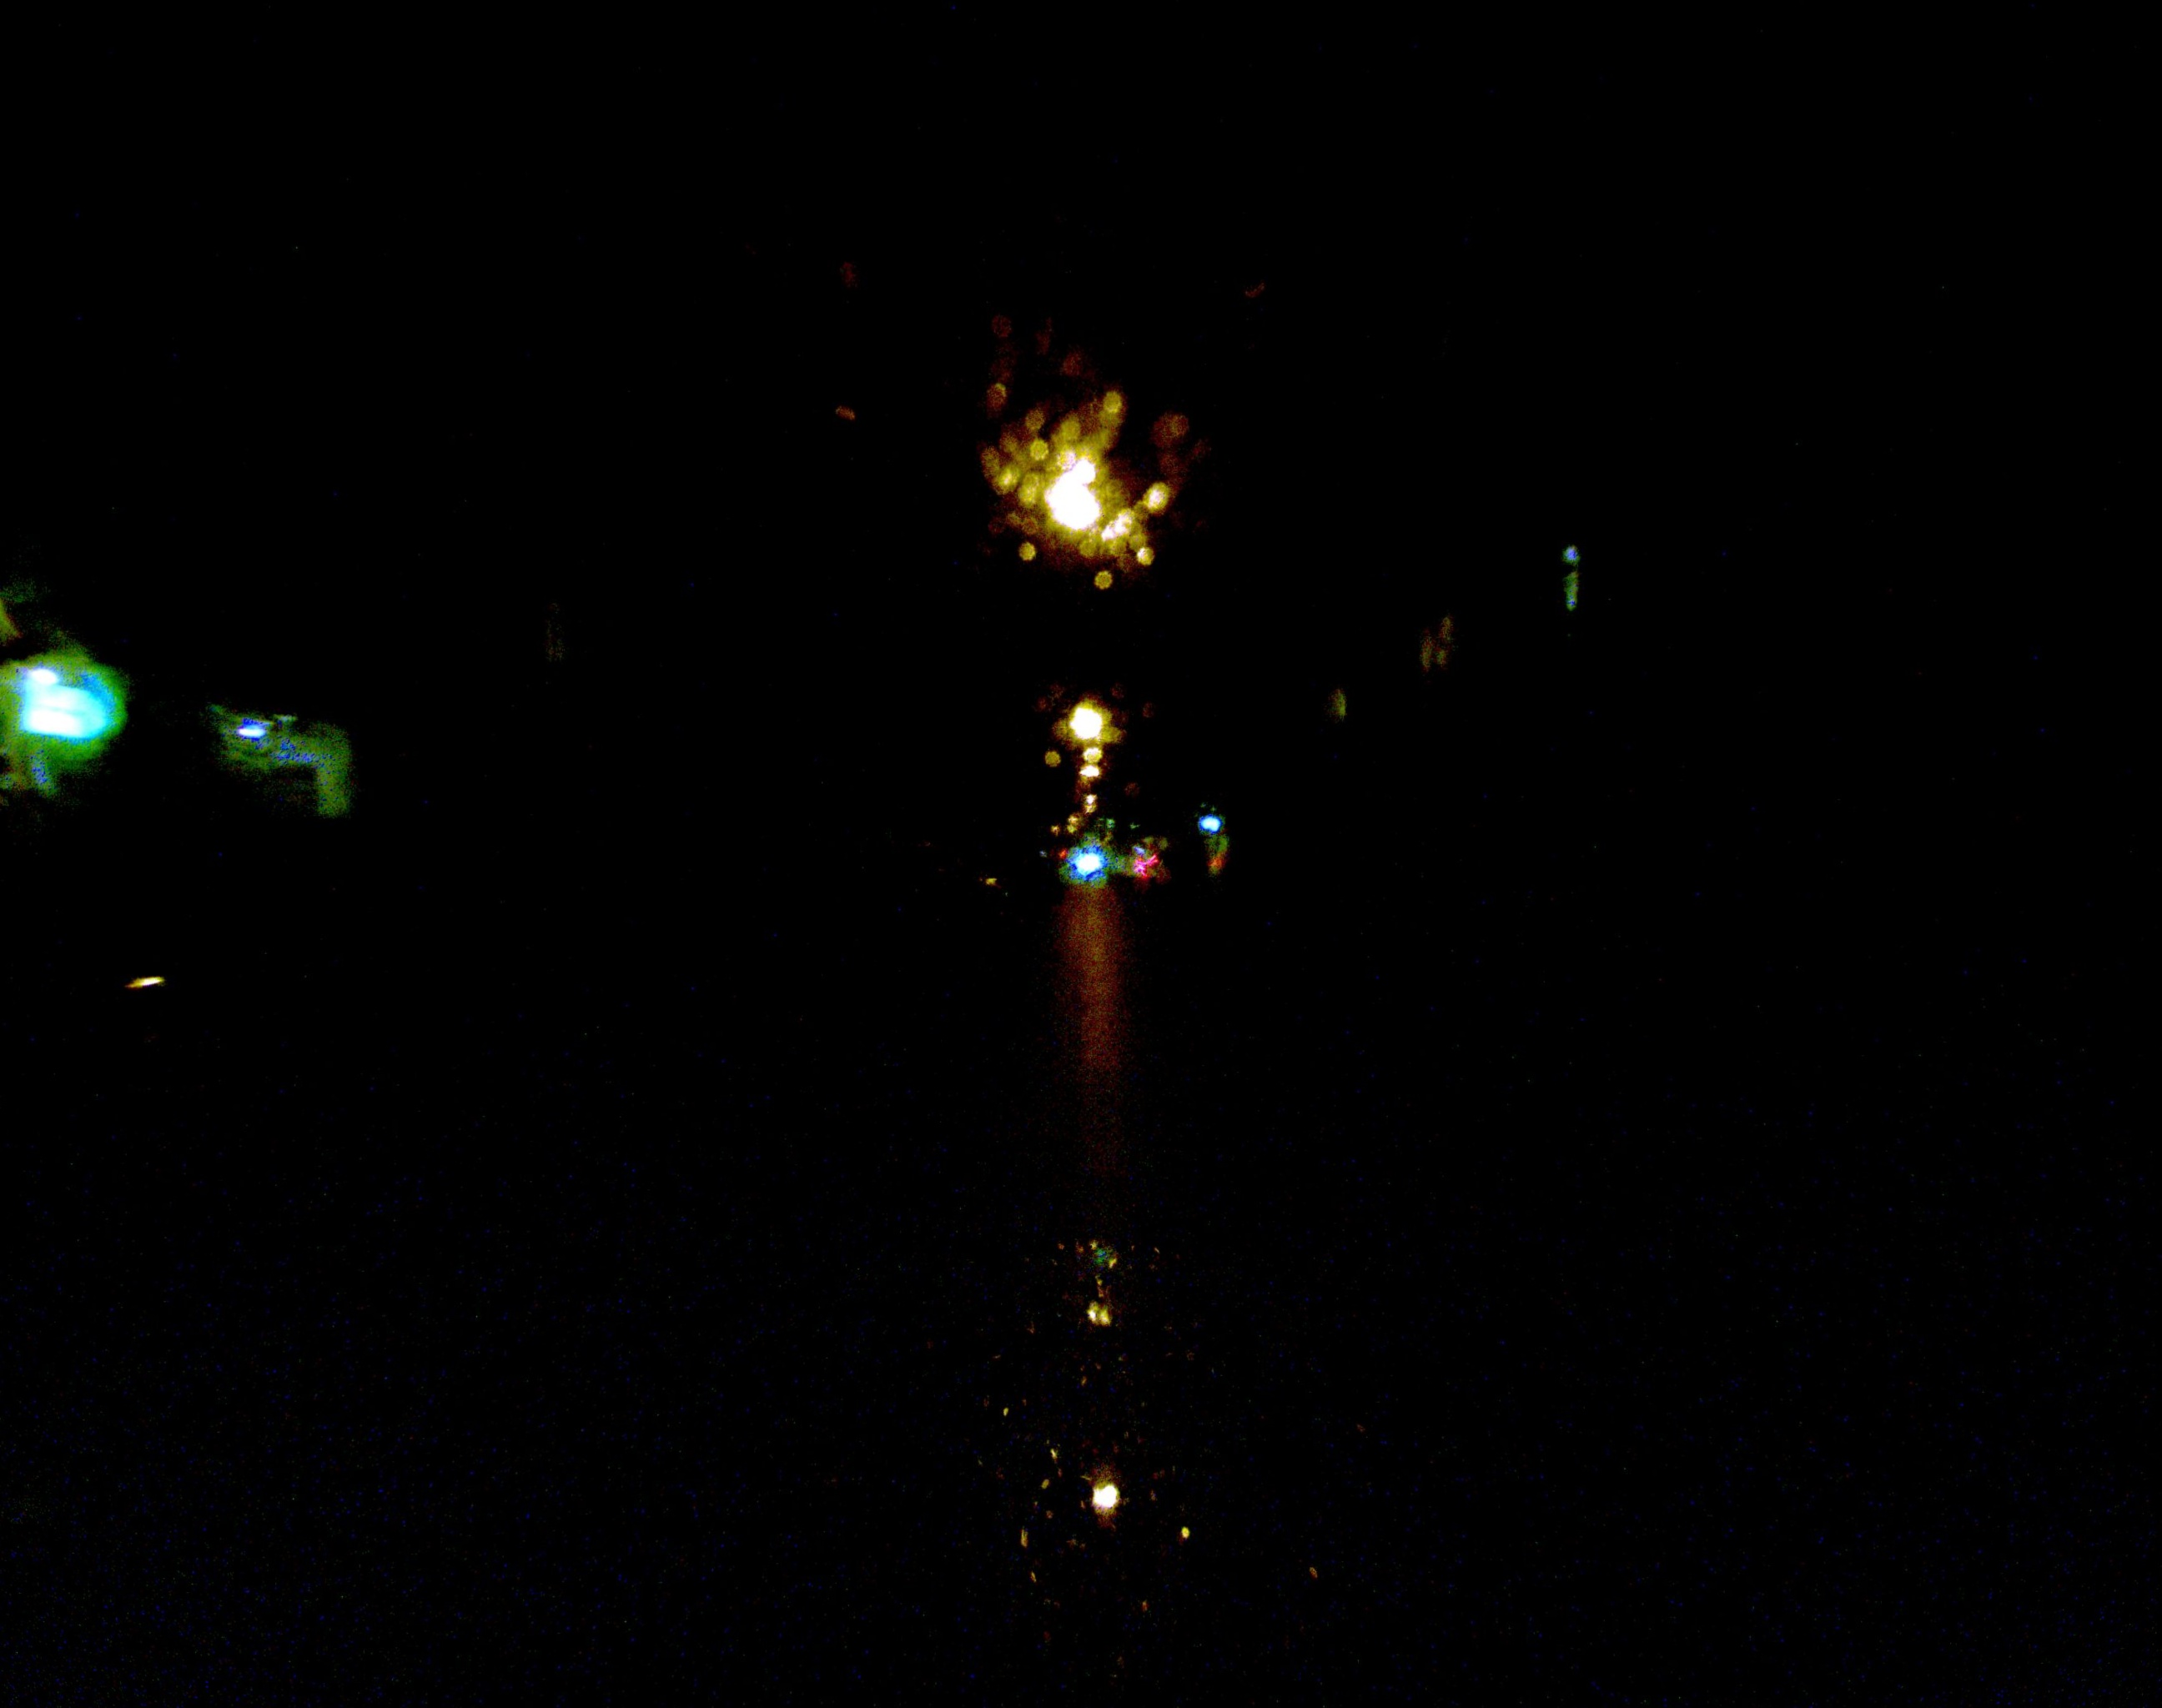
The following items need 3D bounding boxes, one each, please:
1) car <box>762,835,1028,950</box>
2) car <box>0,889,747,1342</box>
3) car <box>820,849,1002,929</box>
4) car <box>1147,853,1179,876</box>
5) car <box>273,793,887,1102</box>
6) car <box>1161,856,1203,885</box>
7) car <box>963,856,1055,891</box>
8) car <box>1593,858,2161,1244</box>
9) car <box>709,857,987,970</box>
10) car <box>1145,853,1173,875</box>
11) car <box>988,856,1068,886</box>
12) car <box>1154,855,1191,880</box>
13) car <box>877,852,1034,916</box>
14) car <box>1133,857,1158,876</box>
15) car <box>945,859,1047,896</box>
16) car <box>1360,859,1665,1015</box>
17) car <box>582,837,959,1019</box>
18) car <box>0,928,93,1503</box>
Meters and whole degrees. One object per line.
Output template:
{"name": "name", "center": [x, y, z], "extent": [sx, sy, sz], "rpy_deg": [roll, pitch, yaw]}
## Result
{"name": "car", "center": [-3.623, 0.708, 14.995], "extent": [4.720, 1.968, 1.975], "rpy_deg": [2, 0, -28]}
{"name": "car", "center": [-3.884, 0.957, 3.495], "extent": [4.064, 1.444, 1.674], "rpy_deg": [0, 0, -34]}
{"name": "car", "center": [-4.019, 0.804, 17.873], "extent": [3.938, 1.732, 1.707], "rpy_deg": [2, 0, -21]}
{"name": "car", "center": [5.797, 0.742, 54.201], "extent": [1.851, 1.571, 3.735], "rpy_deg": [-2, 0, 1]}
{"name": "car", "center": [-3.930, 0.623, 6.597], "extent": [3.942, 1.931, 1.738], "rpy_deg": [2, 0, -36]}
{"name": "car", "center": [5.567, 0.888, 42.439], "extent": [1.851, 1.470, 3.735], "rpy_deg": [-2, 0, 1]}
{"name": "car", "center": [-3.404, 0.921, 35.665], "extent": [3.939, 1.553, 1.707], "rpy_deg": [2, 0, -22]}
{"name": "car", "center": [5.023, 0.776, 4.019], "extent": [1.721, 1.470, 4.159], "rpy_deg": [-1, 0, -2]}
{"name": "car", "center": [-3.704, 0.878, 12.291], "extent": [3.941, 1.541, 1.739], "rpy_deg": [2, 0, -33]}
{"name": "car", "center": [6.150, 0.769, 60.157], "extent": [1.851, 1.571, 3.735], "rpy_deg": [-2, 0, 1]}
{"name": "car", "center": [-2.879, 0.921, 41.297], "extent": [3.939, 1.553, 1.707], "rpy_deg": [2, 0, -22]}
{"name": "car", "center": [5.748, 0.828, 48.111], "extent": [1.851, 1.470, 3.735], "rpy_deg": [-2, 0, 1]}
{"name": "car", "center": [-3.442, 0.811, 20.793], "extent": [3.938, 1.610, 1.707], "rpy_deg": [2, 0, -21]}
{"name": "car", "center": [5.652, 1.092, 66.929], "extent": [1.851, 1.571, 3.735], "rpy_deg": [-2, 0, 1]}
{"name": "car", "center": [-3.616, 0.978, 32.195], "extent": [3.939, 1.455, 1.707], "rpy_deg": [2, 0, -22]}
{"name": "car", "center": [4.922, 0.827, 9.345], "extent": [1.720, 1.470, 3.786], "rpy_deg": [-2, 0, 3]}
{"name": "car", "center": [-3.687, 0.766, 9.301], "extent": [3.942, 1.782, 1.738], "rpy_deg": [2, 0, -36]}
{"name": "car", "center": [-4.095, 0.898, 0.573], "extent": [3.712, 1.444, 1.654], "rpy_deg": [2, 0, -31]}
